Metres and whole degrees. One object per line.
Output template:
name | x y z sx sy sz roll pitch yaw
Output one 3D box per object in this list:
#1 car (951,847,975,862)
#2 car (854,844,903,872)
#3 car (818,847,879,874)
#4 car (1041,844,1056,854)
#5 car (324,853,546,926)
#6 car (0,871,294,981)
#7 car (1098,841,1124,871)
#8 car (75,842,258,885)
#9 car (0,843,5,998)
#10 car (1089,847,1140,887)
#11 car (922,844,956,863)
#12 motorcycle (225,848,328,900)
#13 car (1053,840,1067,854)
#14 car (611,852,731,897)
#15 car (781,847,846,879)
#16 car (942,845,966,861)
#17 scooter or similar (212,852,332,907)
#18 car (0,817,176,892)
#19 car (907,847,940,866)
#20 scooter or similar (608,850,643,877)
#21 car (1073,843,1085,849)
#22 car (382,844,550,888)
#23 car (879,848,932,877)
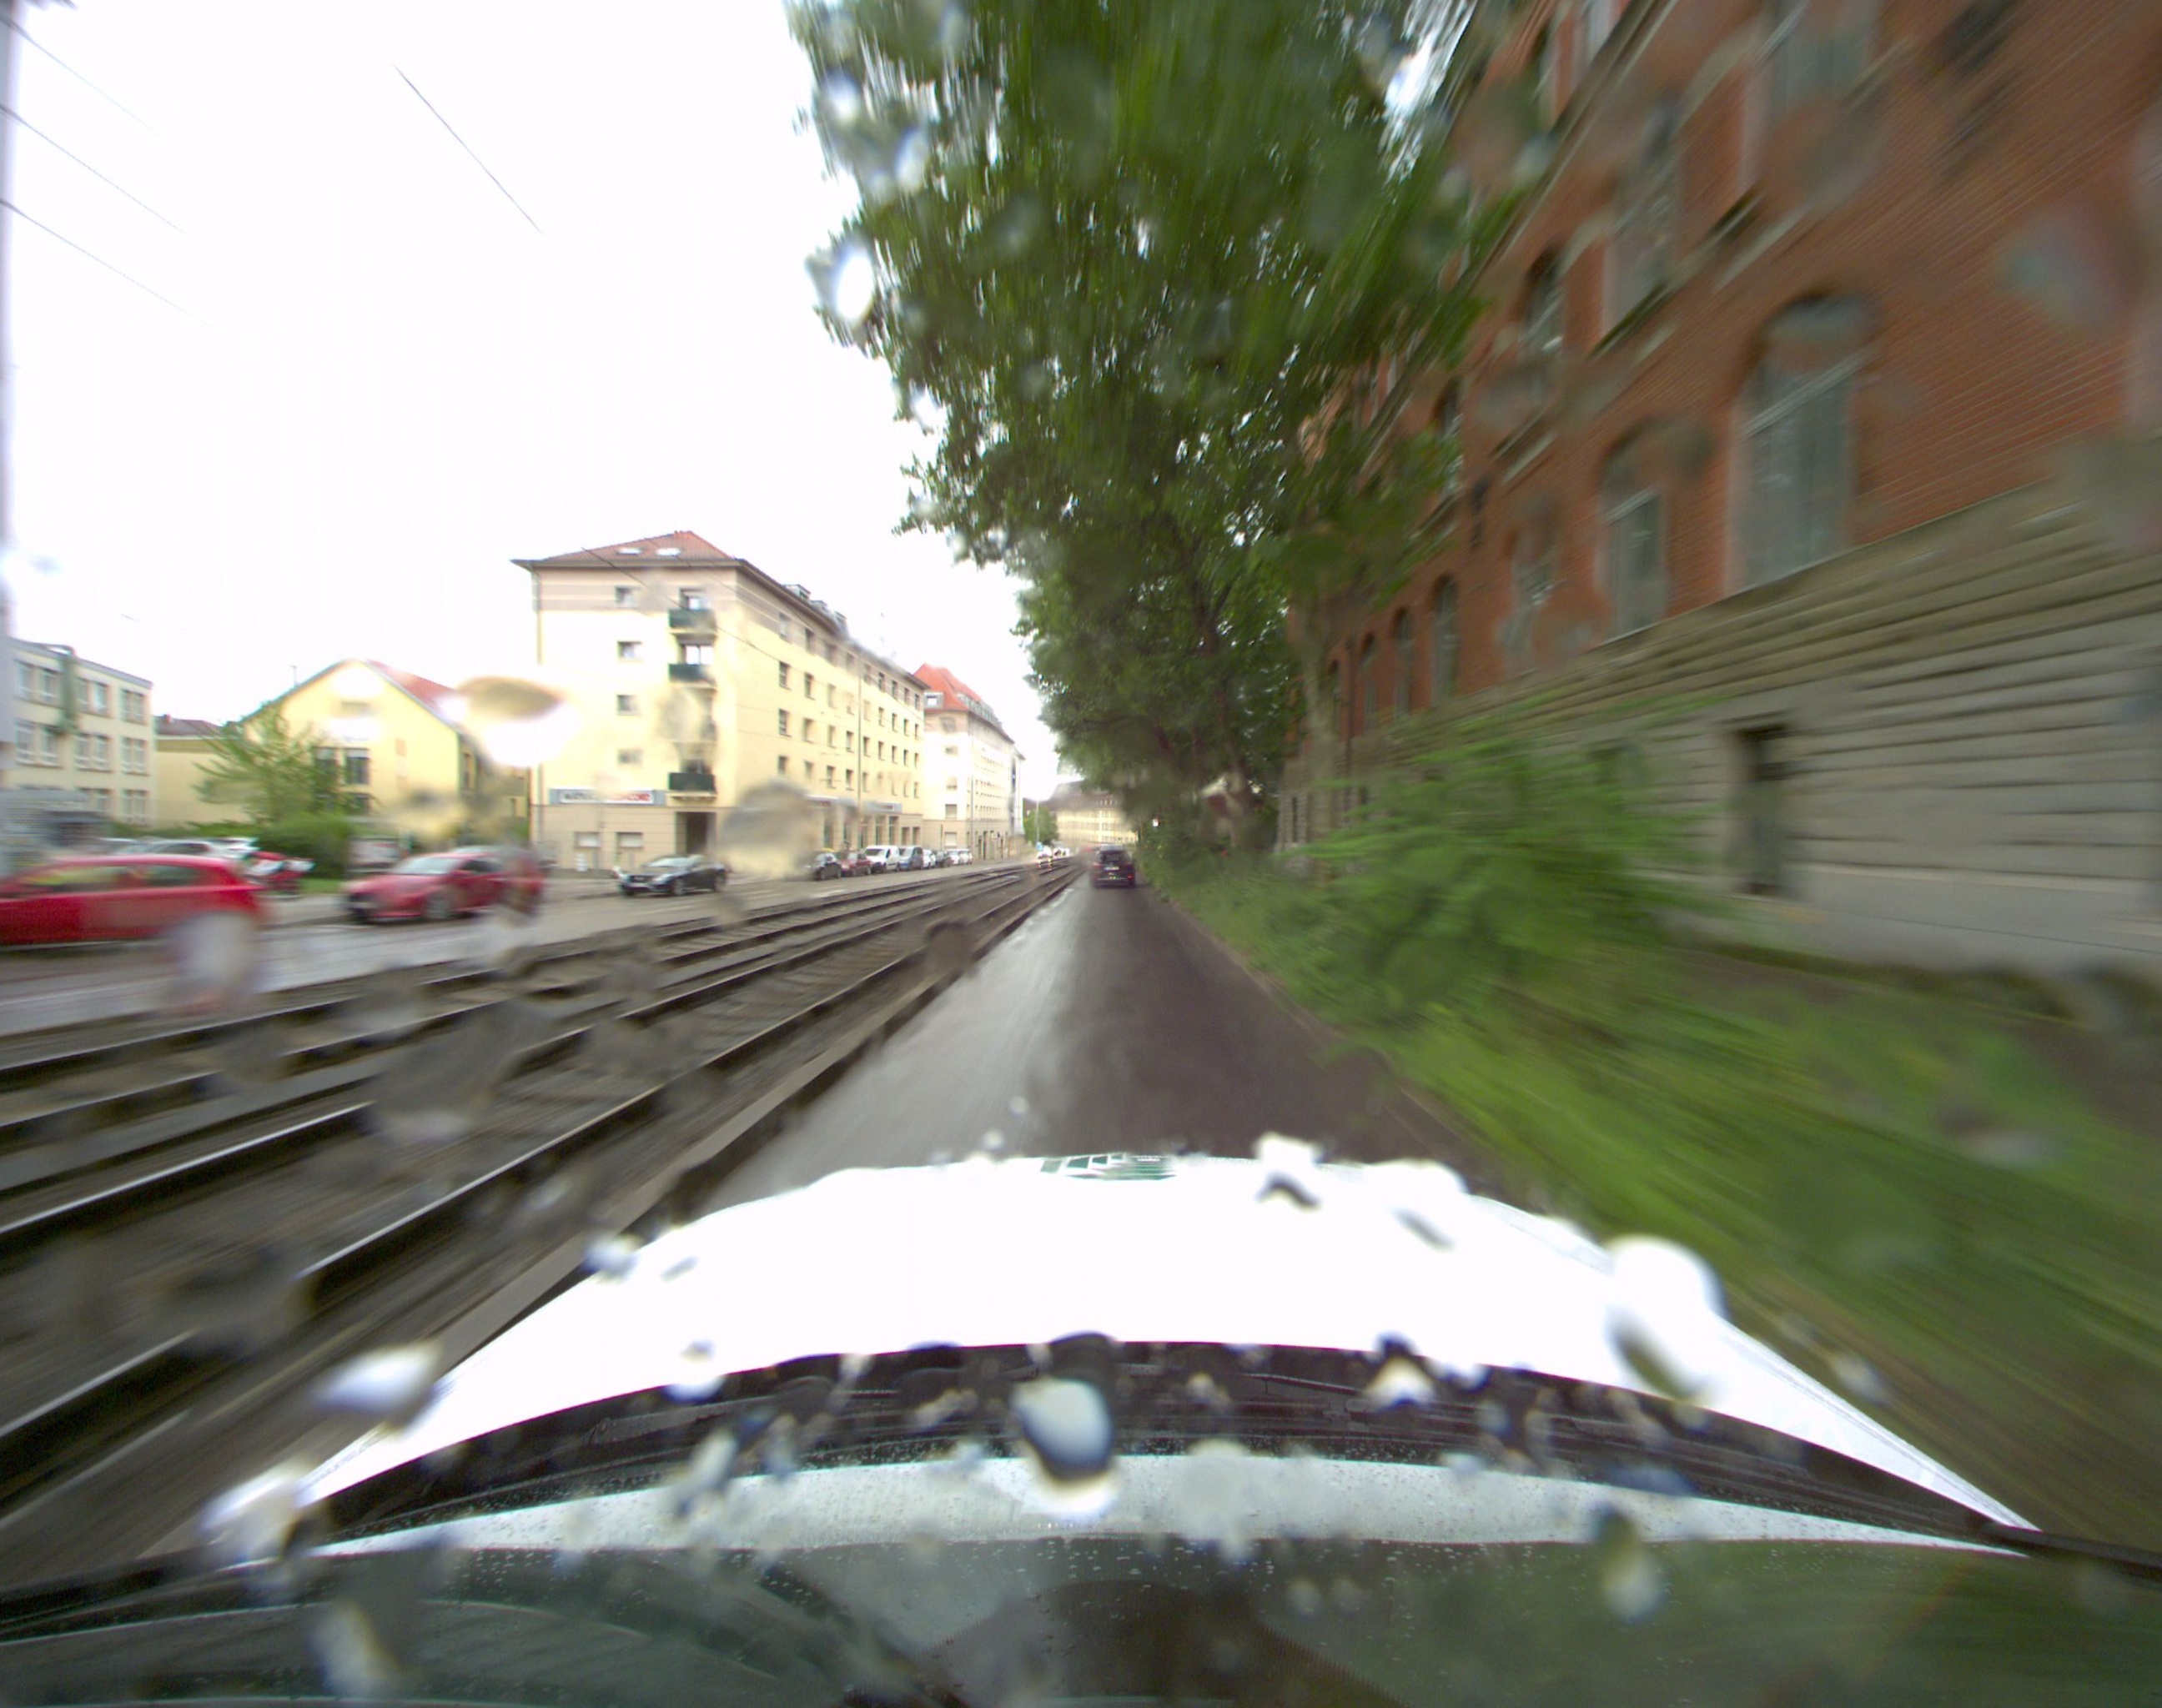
car | -11.732 0.012 81.075 1.702 1.449 3.542 2 1 1
car | -13.062 0.214 52.751 1.859 1.717 4.464 0 0 3
car | -13.330 0.349 46.944 1.843 1.432 4.836 1 1 3
car | -4.803 -0.716 120.392 1.704 1.462 4.285 0 1 4
car | -14.542 0.715 18.670 1.646 1.451 4.079 0 0 4
car | -15.247 1.040 12.730 1.763 1.434 4.007 1 1 37
car | 2.031 0.127 55.714 1.734 2.013 3.905 0 0 1
car | -31.494 0.272 28.238 1.658 1.400 3.913 0 1 9
car | -15.177 0.862 7.968 2.061 2.009 5.306 3 1 3
car | 1.298 0.476 32.998 1.926 1.452 4.318 1 0 1
car | -11.997 -0.102 69.138 1.806 1.499 4.586 1 1 3
motorcycle | -19.936 0.483 20.241 0.637 1.200 1.785 4 -1 2
car | -3.793 -1.221 146.436 1.985 2.451 6.004 0 0 3
car | -13.878 0.644 27.919 1.673 1.396 4.624 0 0 2
car | -13.471 0.411 41.370 1.847 1.508 4.987 0 0 -2
car | -11.876 -0.091 76.394 1.699 1.396 3.933 1 1 -2
scooter or similar | -19.132 0.572 19.318 0.617 1.200 1.905 3 2 23
car | -27.171 -0.038 21.577 1.679 1.821 4.005 -1 2 4
car | -12.340 0.194 64.066 1.685 1.439 4.051 0 1 2
scooter or similar | -19.888 0.412 35.556 1.288 1.112 0.379 1 1 -5
car | -0.709 -2.345 235.913 2.003 1.542 3.969 -2 1 -24
car | -20.748 0.350 27.756 1.859 1.303 4.490 0 1 9
car | -12.569 0.555 58.676 1.983 1.904 5.470 2 1 6
